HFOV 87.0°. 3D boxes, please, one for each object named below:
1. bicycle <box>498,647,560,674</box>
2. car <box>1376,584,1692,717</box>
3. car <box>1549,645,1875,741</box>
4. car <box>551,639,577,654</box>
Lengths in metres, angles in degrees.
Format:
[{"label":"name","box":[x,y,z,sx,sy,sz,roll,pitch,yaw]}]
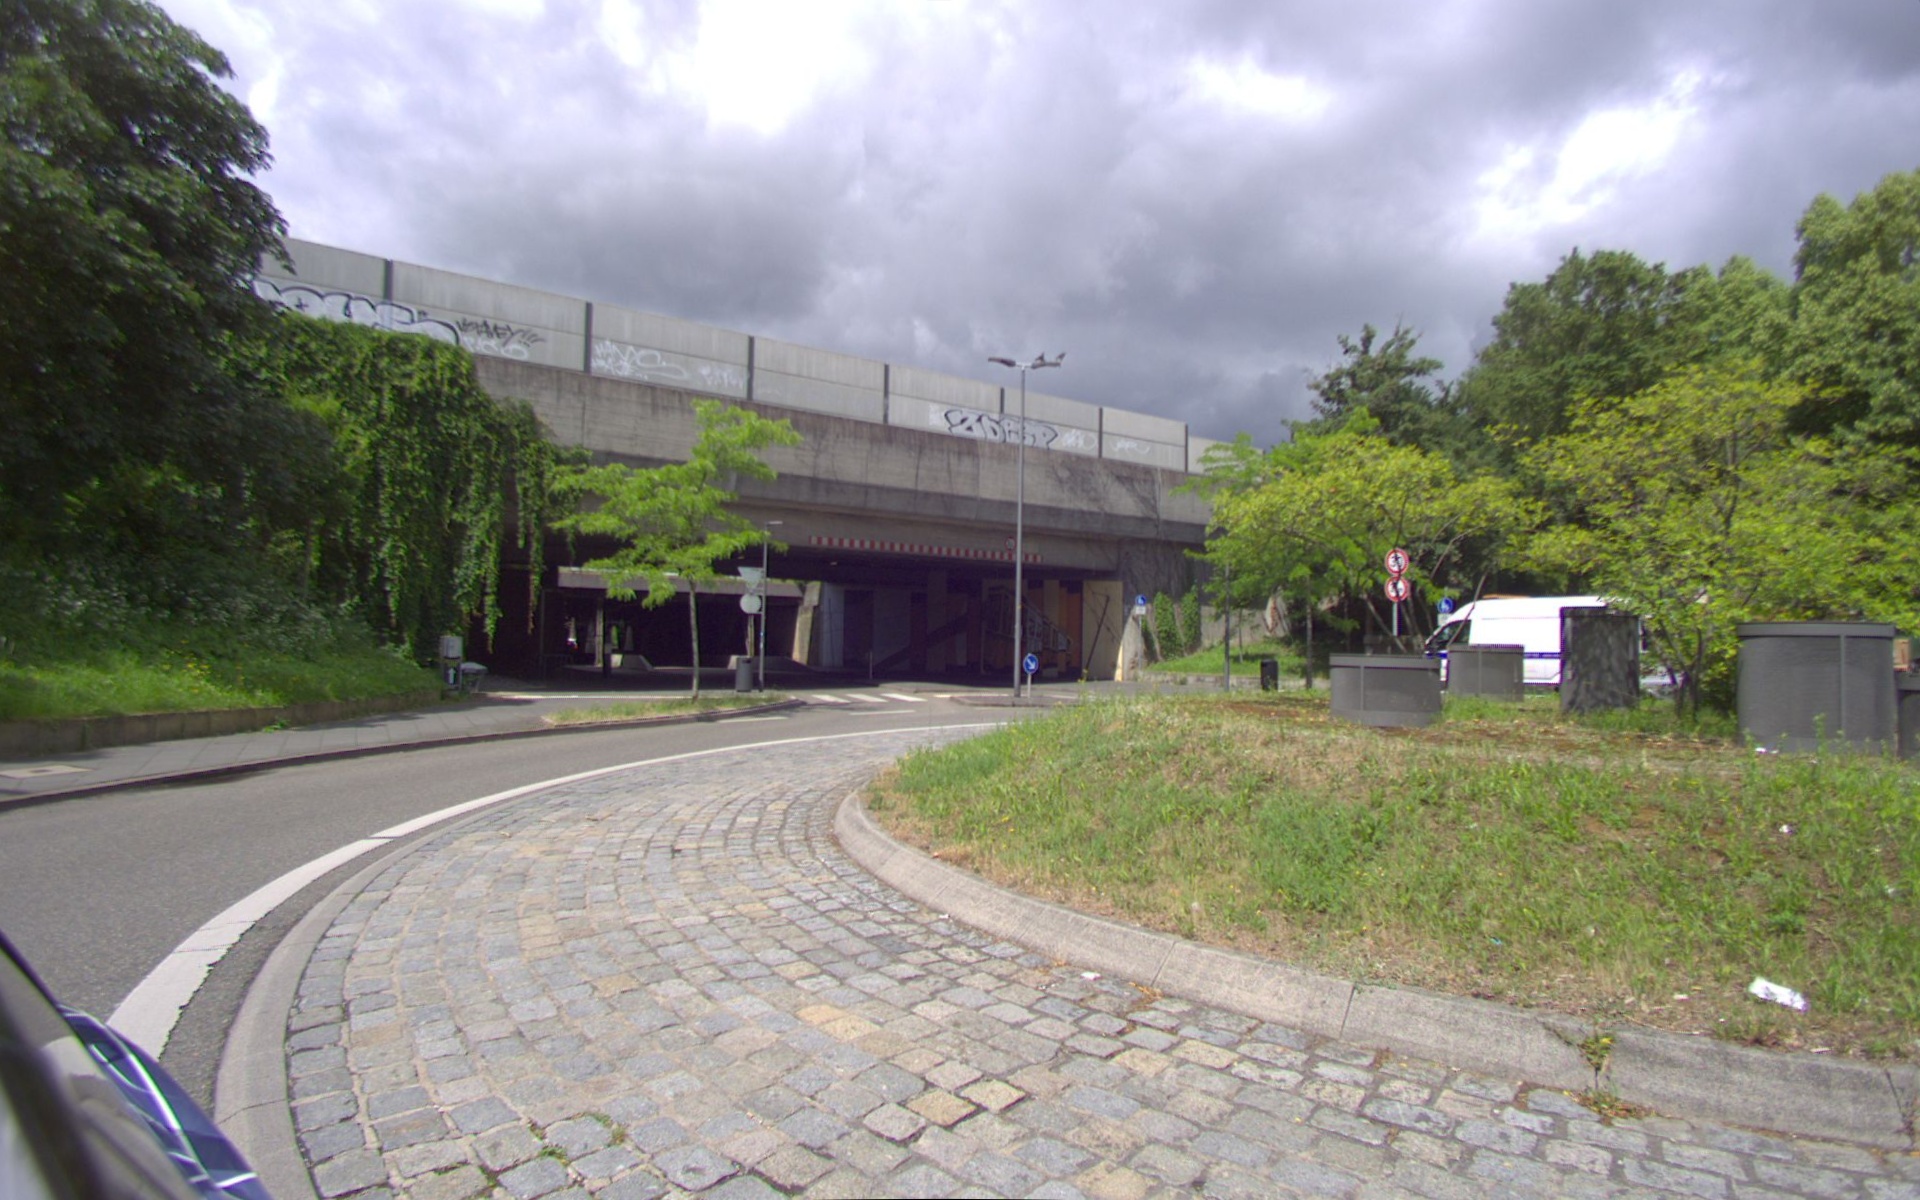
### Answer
[{"label":"bicycle","box":[-15.219,2.140,35.786,1.918,0.911,0.508,4,-3,-33]},{"label":"car","box":[12.705,1.108,22.947,1.941,2.627,5.946,1,-2,-34]},{"label":"car","box":[12.302,1.440,16.802,1.687,1.364,4.009,2,-3,-36]},{"label":"car","box":[-40.150,4.744,102.552,1.648,1.458,3.863,4,-4,-33]}]
